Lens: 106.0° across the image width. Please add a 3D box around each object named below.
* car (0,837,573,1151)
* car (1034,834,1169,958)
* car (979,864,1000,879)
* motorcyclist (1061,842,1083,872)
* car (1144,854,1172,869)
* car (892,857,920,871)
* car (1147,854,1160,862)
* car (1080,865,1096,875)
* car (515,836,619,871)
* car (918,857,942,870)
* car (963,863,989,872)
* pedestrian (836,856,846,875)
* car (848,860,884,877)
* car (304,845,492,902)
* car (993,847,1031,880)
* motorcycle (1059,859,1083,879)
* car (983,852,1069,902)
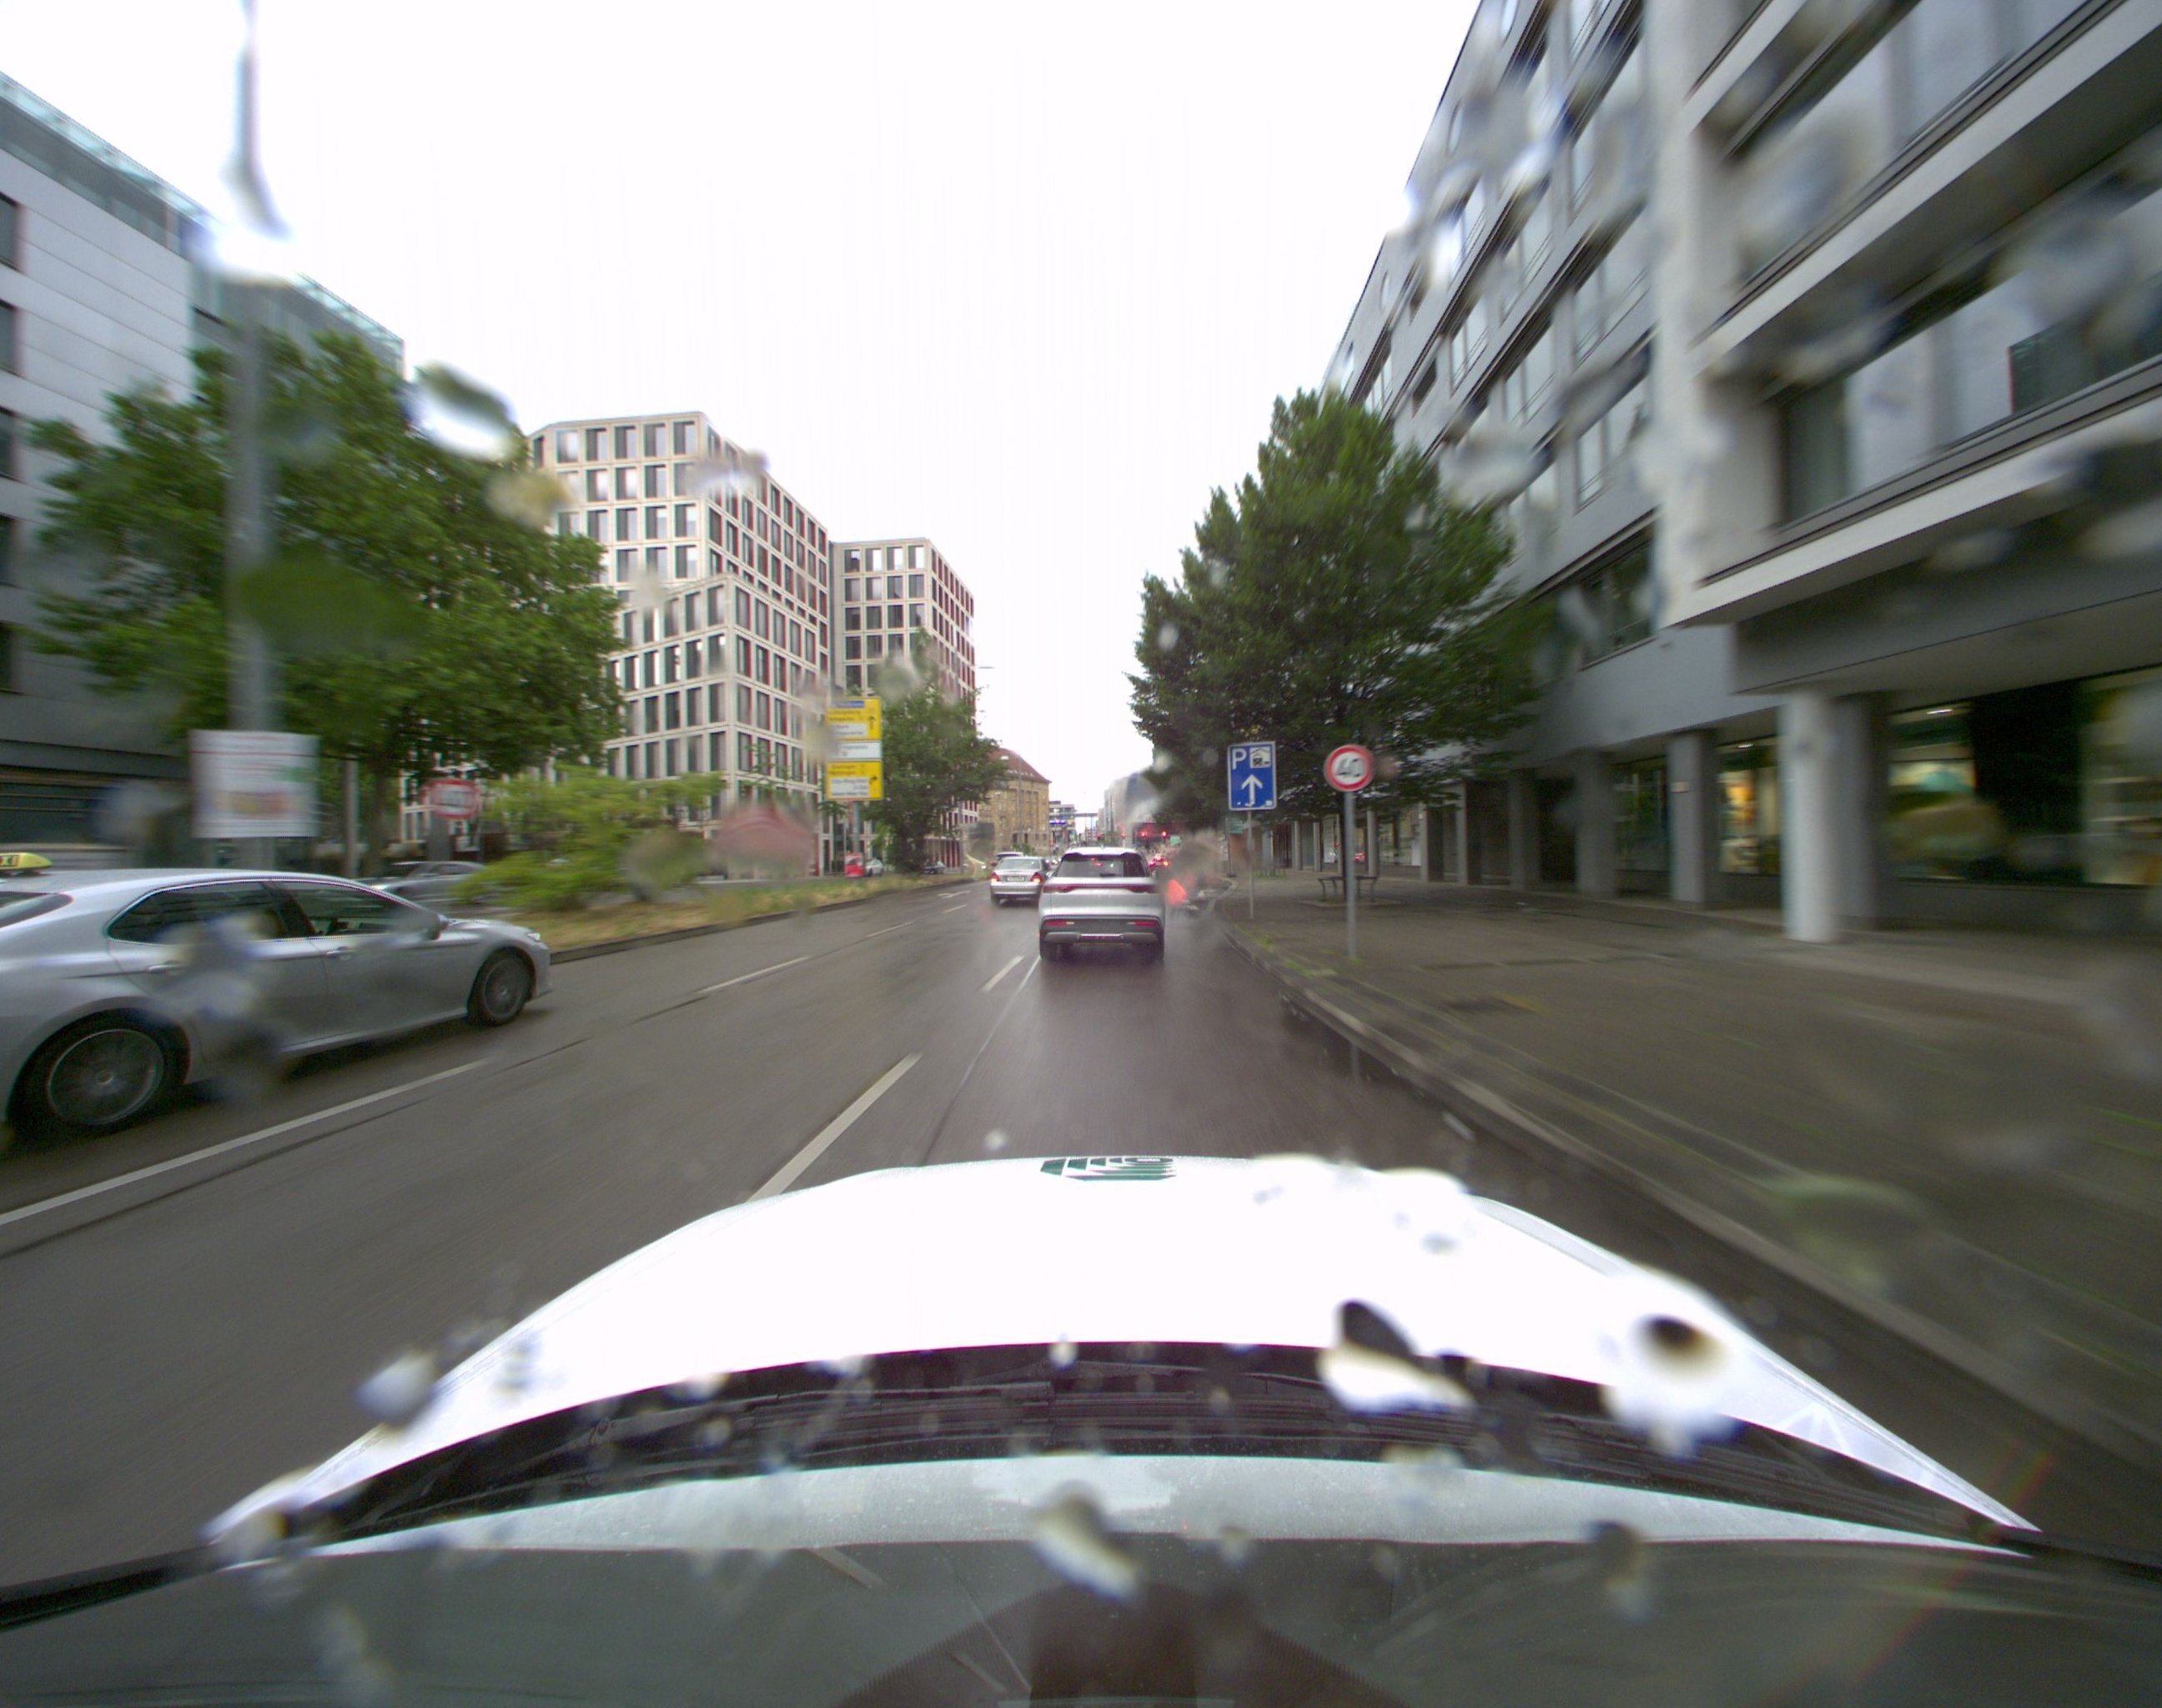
[{"bbox_3d":[-6.084,0.715,5.729,1.823,1.521,4.803,0,-1,2],"label":"car"},{"bbox_3d":[0.364,0.602,13.034,1.801,1.661,4.172,0,-1,2],"label":"car"},{"bbox_3d":[-10.031,1.896,89.336,1.820,1.632,4.873,0,-1,-1],"label":"car"},{"bbox_3d":[-0.449,0.164,40.629,0.936,1.476,1.102,0,-1,6],"label":"motorcyclist"},{"bbox_3d":[7.809,0.774,82.384,1.875,1.544,4.013,0,-1,20],"label":"car"},{"bbox_3d":[-18.311,1.068,85.436,1.690,1.424,3.960,-2,-1,5],"label":"car"},{"bbox_3d":[17.349,0.929,195.098,1.997,1.816,3.979,1,-1,-15],"label":"car"},{"bbox_3d":[0.993,2.185,113.479,1.774,1.373,3.999,0,-1,6],"label":"car"},{"bbox_3d":[-23.573,0.024,37.541,1.789,1.529,4.291,0,-1,4],"label":"car"},{"bbox_3d":[-17.452,1.154,94.382,1.690,1.424,3.960,-2,-1,5],"label":"car"},{"bbox_3d":[-18.667,2.386,144.614,4.383,1.662,1.992,0,-1,-12],"label":"car"},{"bbox_3d":[-22.072,1.083,74.829,0.610,1.734,0.967,0,-1,2],"label":"pedestrian"},{"bbox_3d":[-19.431,1.285,73.789,1.690,1.424,4.379,-2,-1,5],"label":"car"},{"bbox_3d":[-21.297,0.550,25.694,1.985,1.618,4.486,0,0,3],"label":"car"},{"bbox_3d":[-3.540,0.516,42.630,1.728,1.616,3.997,0,-1,-1],"label":"car"},{"bbox_3d":[-0.467,0.735,40.564,0.937,0.989,2.298,0,-1,6],"label":"motorcycle"},{"bbox_3d":[-1.591,0.699,25.286,1.722,1.404,4.394,0,-1,9],"label":"car"}]
